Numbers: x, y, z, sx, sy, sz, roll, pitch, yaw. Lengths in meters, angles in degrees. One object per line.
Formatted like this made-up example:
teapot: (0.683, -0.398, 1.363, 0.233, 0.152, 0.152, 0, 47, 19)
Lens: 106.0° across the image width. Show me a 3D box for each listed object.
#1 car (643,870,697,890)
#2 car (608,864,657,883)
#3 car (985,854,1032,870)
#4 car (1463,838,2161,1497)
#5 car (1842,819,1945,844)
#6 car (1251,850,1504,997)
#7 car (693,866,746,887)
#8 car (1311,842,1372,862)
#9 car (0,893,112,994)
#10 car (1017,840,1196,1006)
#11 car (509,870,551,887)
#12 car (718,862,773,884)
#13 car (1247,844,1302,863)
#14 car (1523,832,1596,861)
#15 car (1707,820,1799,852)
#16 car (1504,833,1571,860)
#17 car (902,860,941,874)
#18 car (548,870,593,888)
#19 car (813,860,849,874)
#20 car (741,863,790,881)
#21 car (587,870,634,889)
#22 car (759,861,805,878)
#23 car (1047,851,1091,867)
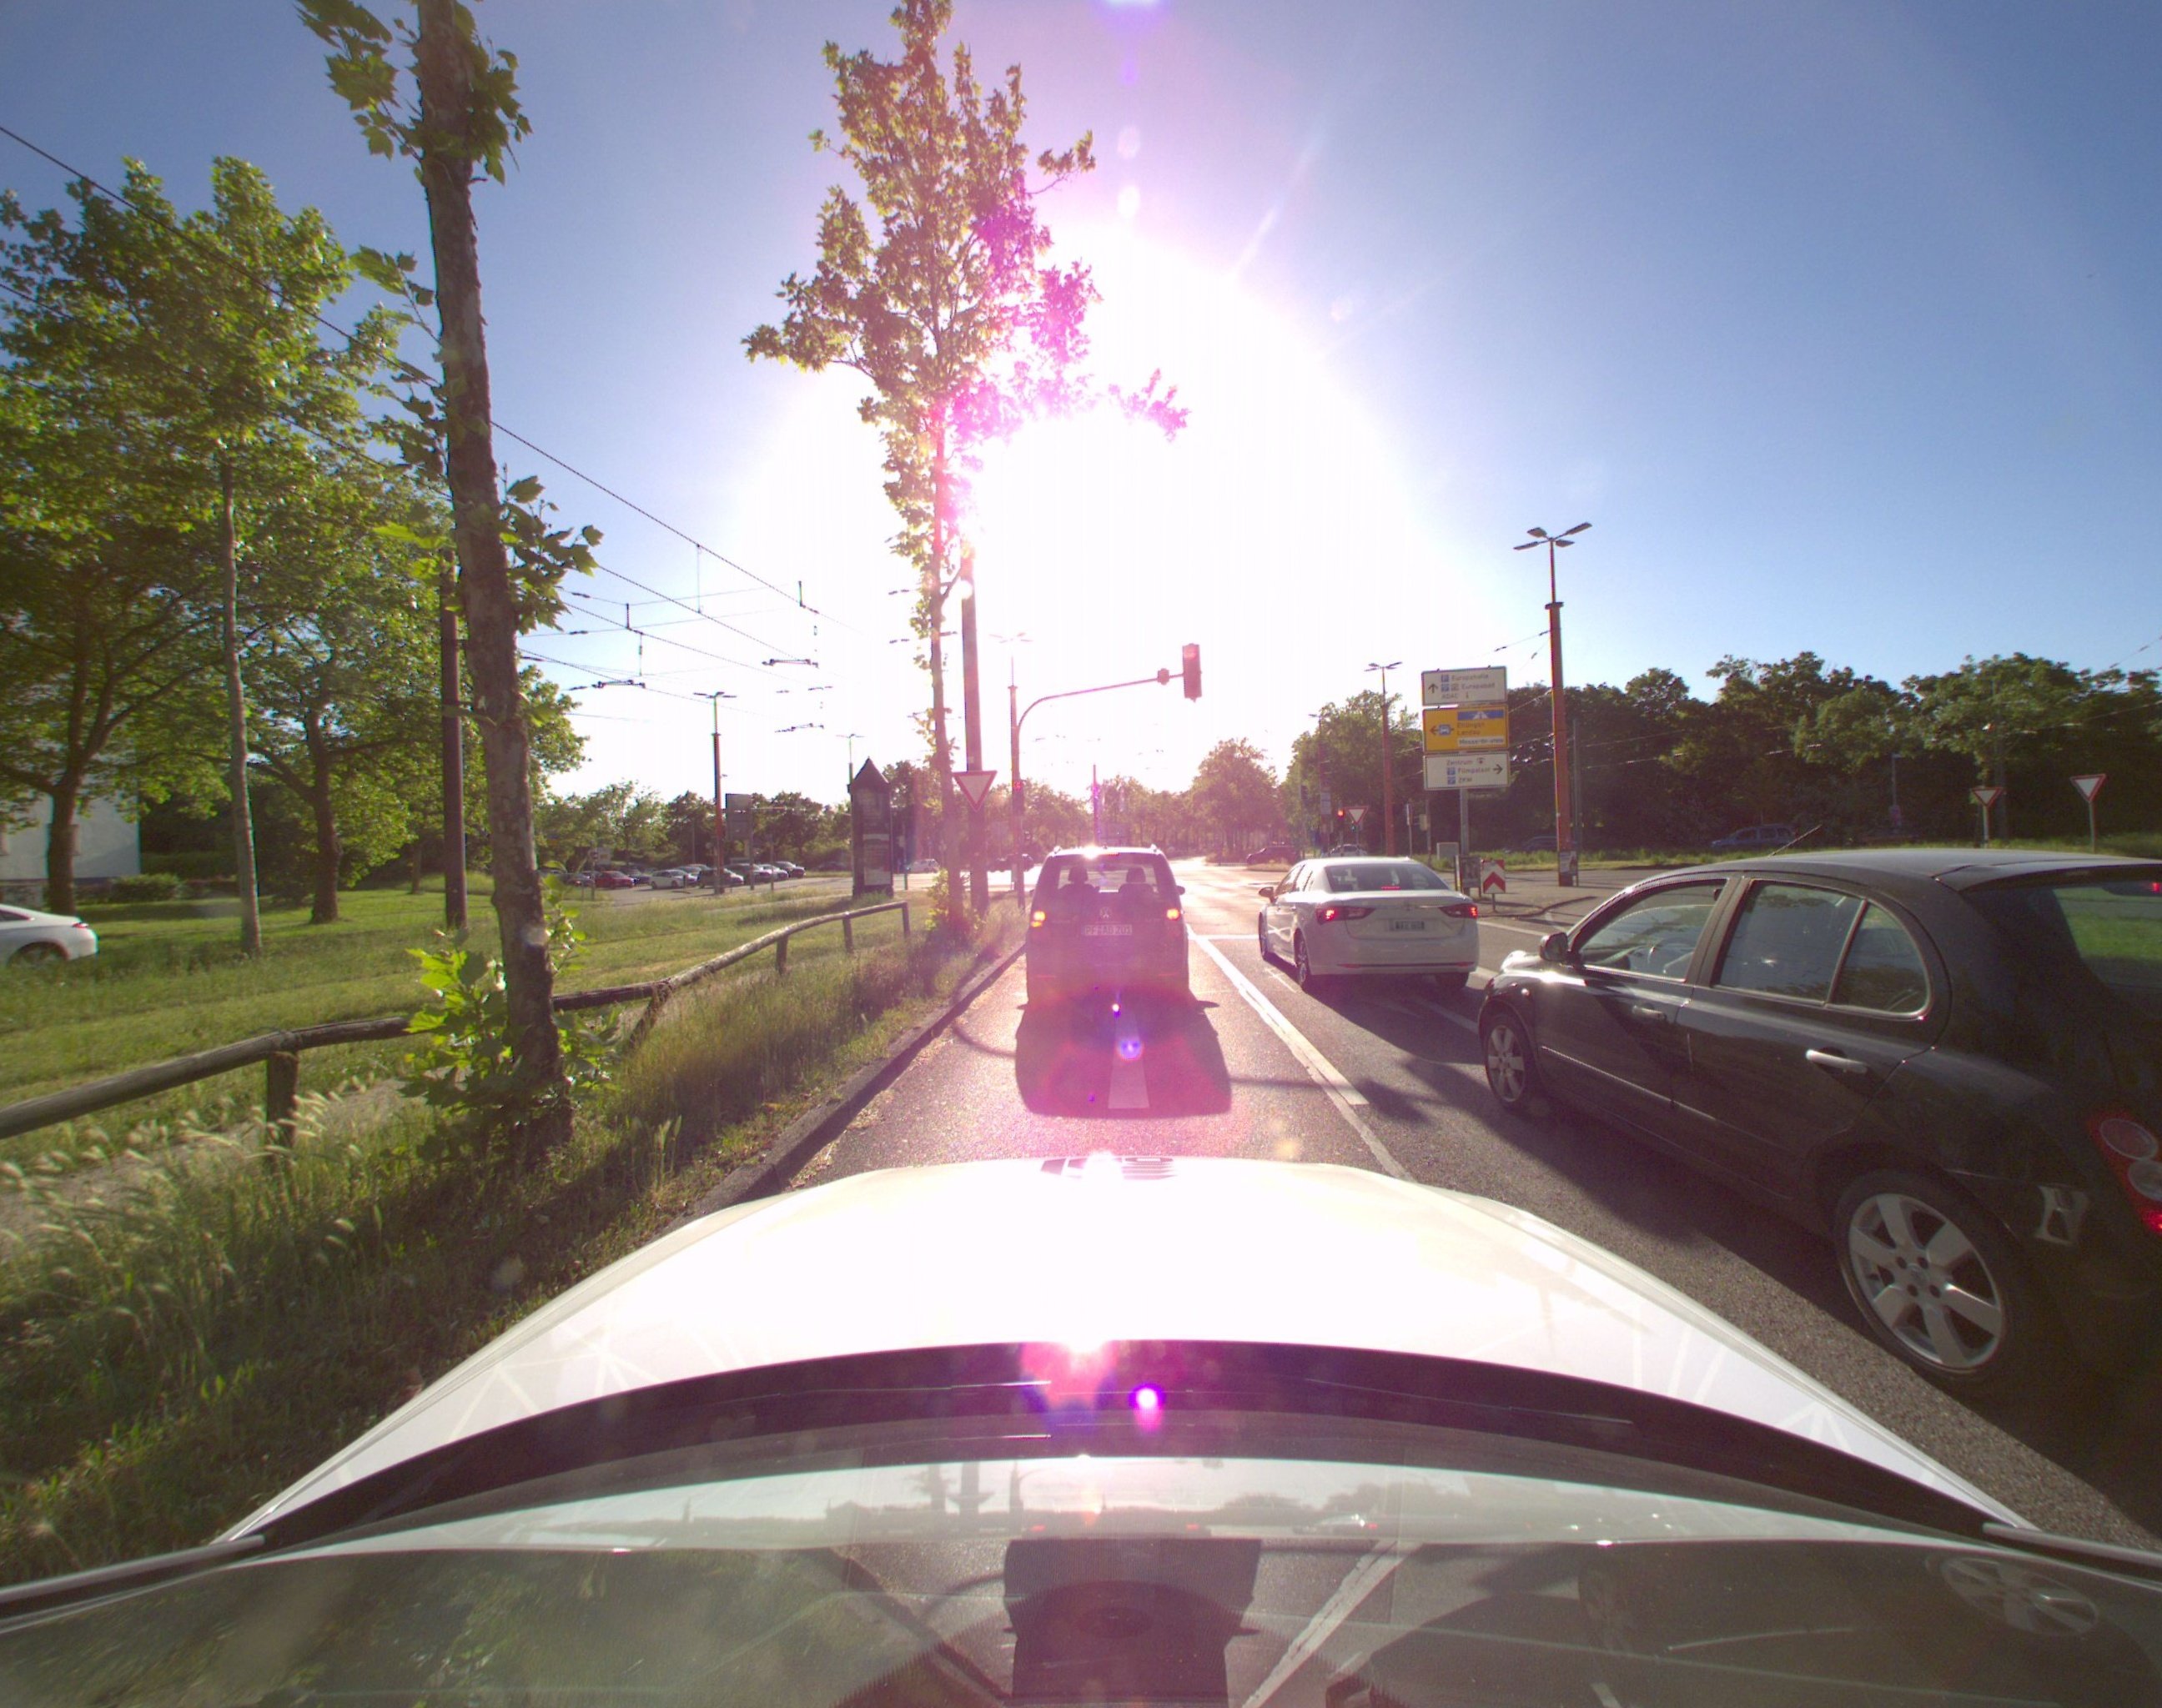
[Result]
car: (-32.671, 2.071, 64.732, 4.577, 1.520, 1.667, -1, 0, 32)
car: (-40.462, 1.724, 73.431, 4.583, 1.647, 1.767, -1, 0, 32)
car: (-6.720, 0.781, 75.609, 4.081, 1.403, 1.666, -1, 0, 25)
car: (3.174, 0.694, 3.491, 1.570, 1.440, 3.443, 0, -1, 2)
car: (48.869, -1.321, 49.091, 4.080, 1.403, 1.666, -1, 0, 27)
car: (3.367, 0.707, 10.189, 1.792, 1.440, 4.329, 0, 0, 3)
car: (-27.337, 1.692, 61.568, 3.793, 1.441, 1.667, -1, 0, 29)
car: (19.557, -0.162, 61.237, 4.079, 1.403, 1.667, -1, 0, 29)
car: (-17.746, 1.447, 11.852, 1.645, 1.510, 4.644, -1, 0, 1)
car: (0.360, 0.688, 10.084, 1.731, 1.602, 4.329, 0, -1, 3)
car: (-51.133, 2.256, 75.521, 4.145, 1.520, 1.667, -1, 0, 32)
car: (-26.933, 1.514, 65.350, 4.583, 1.647, 1.667, -1, 0, 32)
car: (15.964, -0.006, 67.167, 4.080, 1.471, 1.667, -1, 0, 28)
car: (31.929, -0.479, 54.396, 4.079, 1.791, 1.810, -1, 0, 31)
car: (40.743, -1.057, 49.510, 4.079, 1.791, 1.810, -1, 0, 31)
car: (32.725, -0.523, 58.499, 4.080, 1.791, 1.810, -1, 0, 28)
car: (-16.677, 1.328, 85.151, 3.756, 1.403, 1.667, -1, 0, 28)
car: (-45.086, 2.217, 71.901, 4.145, 1.520, 1.667, -1, 0, 32)
car: (-26.464, 1.417, 86.175, 3.755, 1.403, 1.667, -1, 0, 32)
car: (-26.840, 1.521, 69.187, 4.102, 1.415, 1.553, -1, 0, 28)
car: (-39.449, 2.147, 68.250, 4.145, 1.520, 1.667, -1, 0, 32)
car: (-26.737, 1.379, 72.811, 4.102, 1.415, 1.553, -1, 0, 28)
car: (-1.168, 0.441, 76.545, 3.757, 1.403, 1.666, -1, 0, 24)
